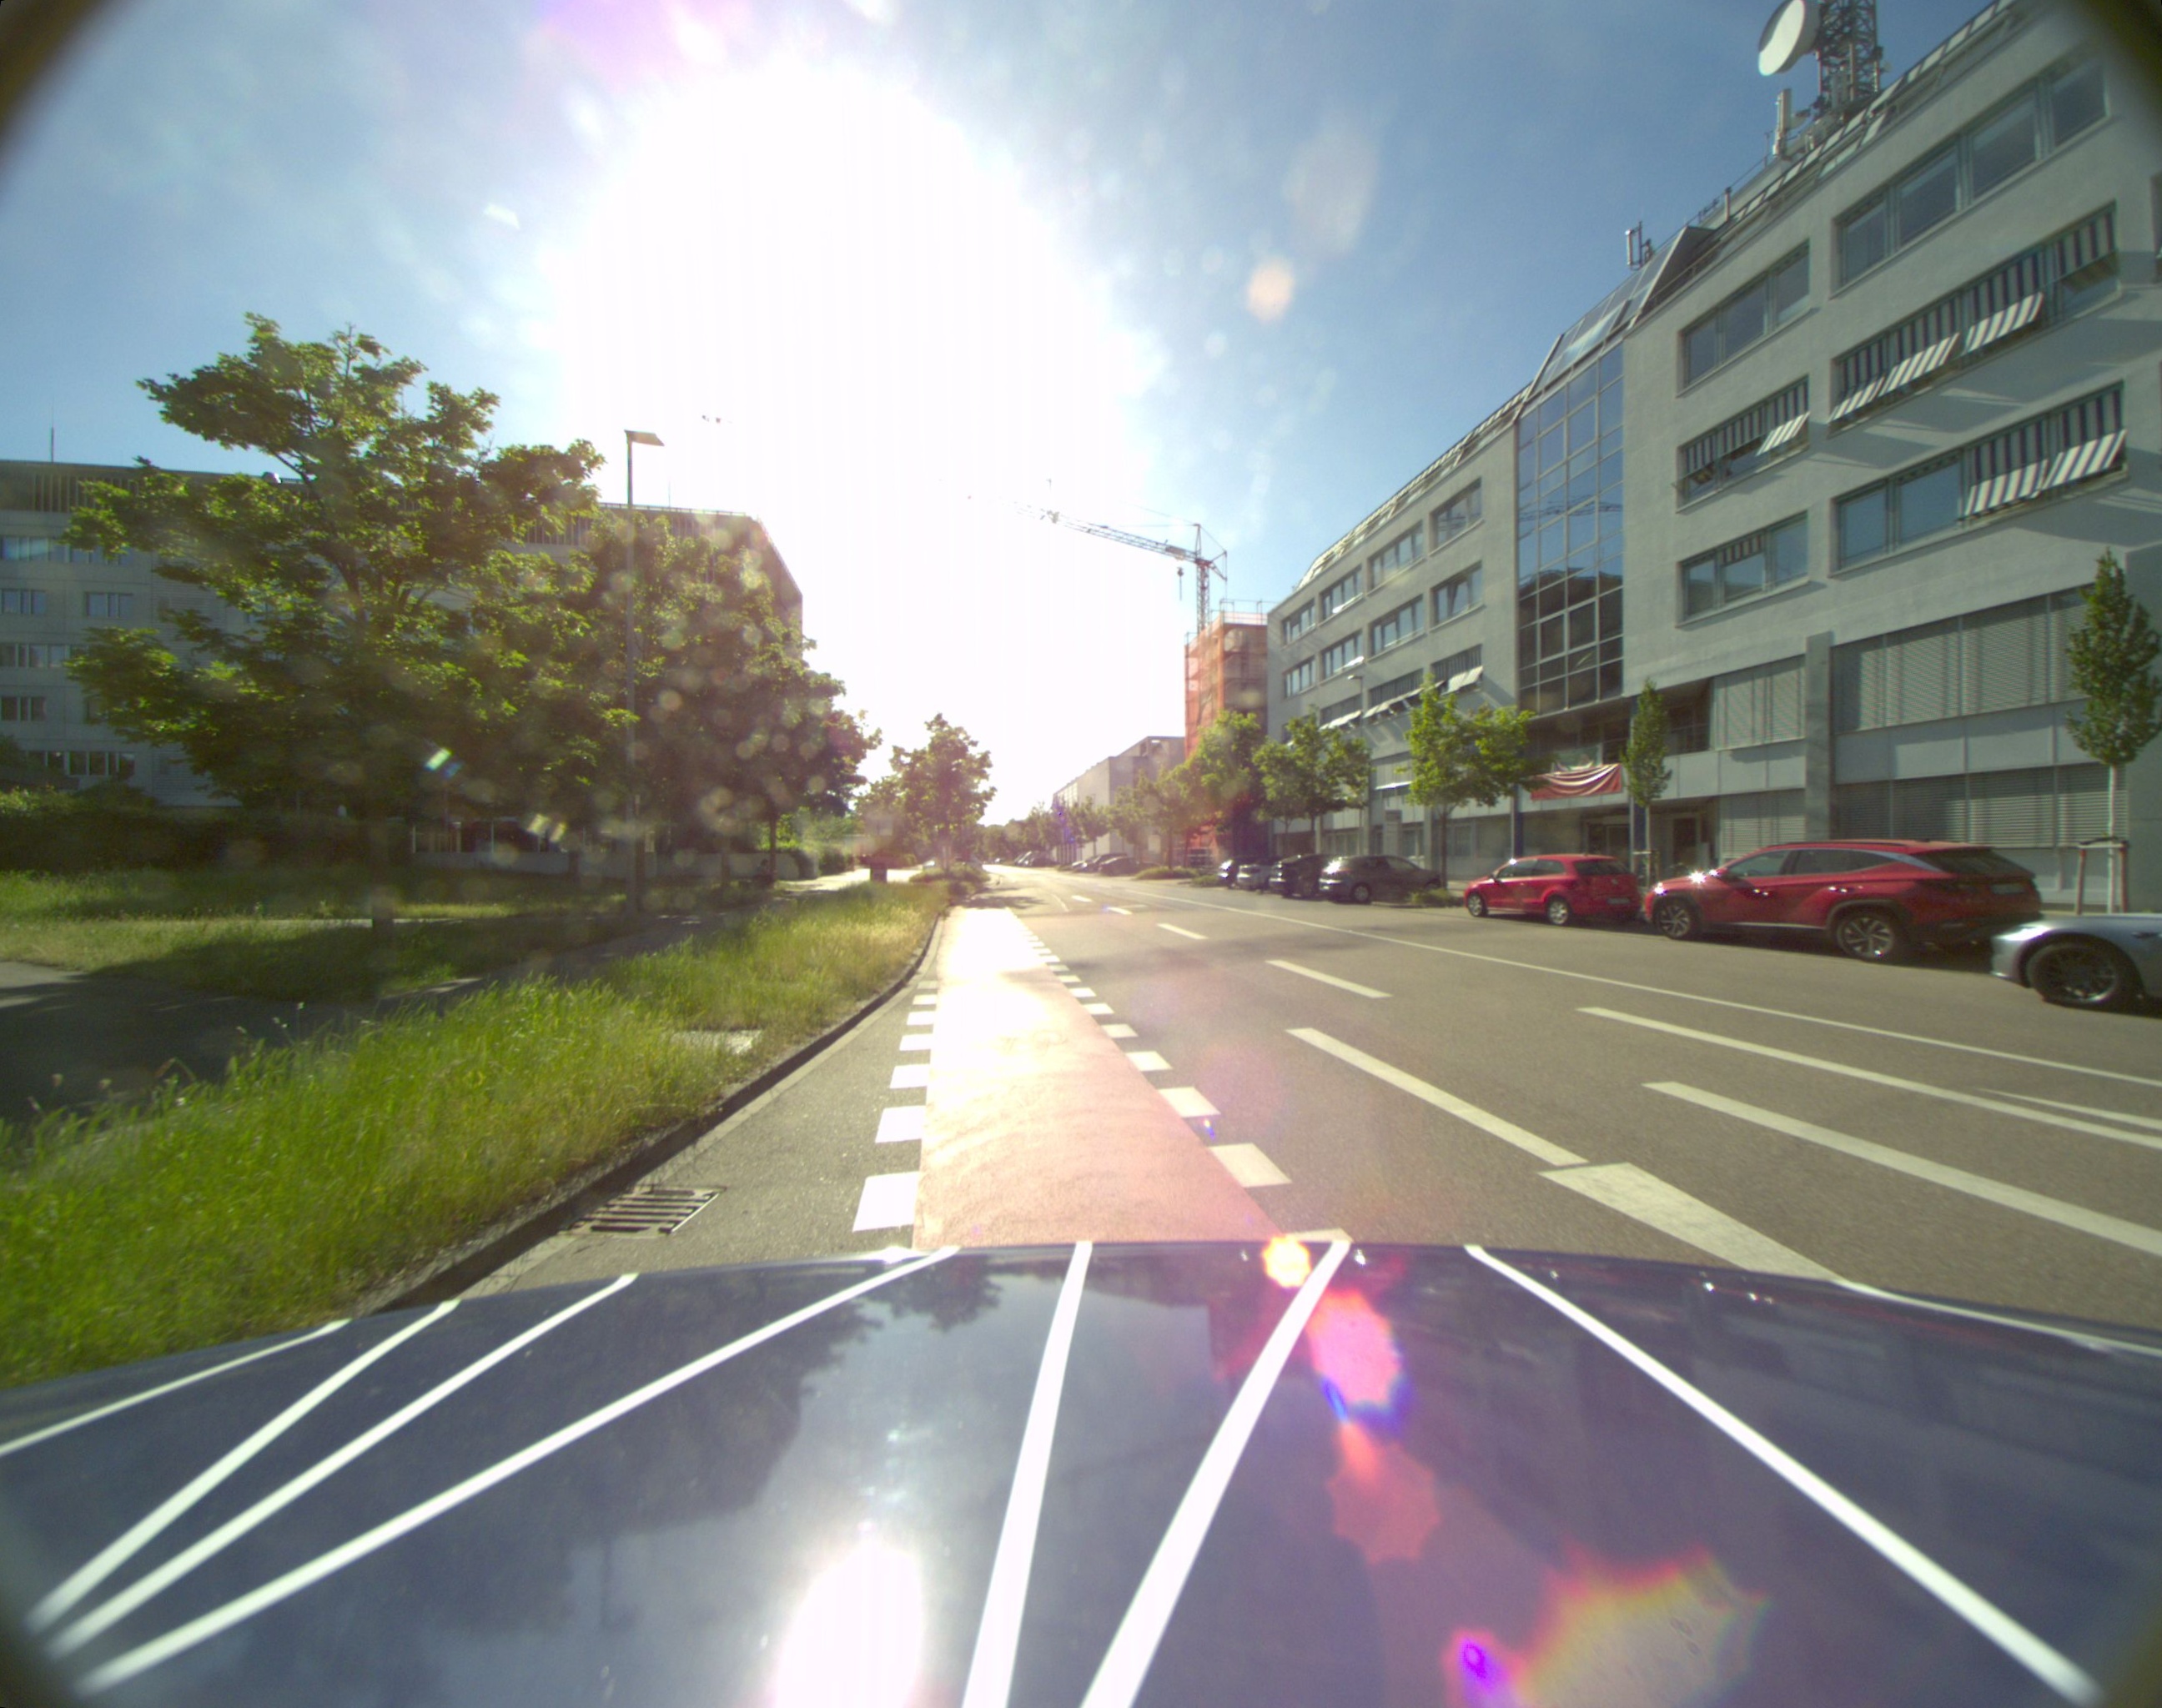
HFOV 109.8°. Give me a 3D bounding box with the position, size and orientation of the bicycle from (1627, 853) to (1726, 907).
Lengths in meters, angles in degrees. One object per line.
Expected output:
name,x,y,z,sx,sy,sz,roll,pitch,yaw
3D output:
bicycle,15.665,0.658,20.080,0.711,1.339,2.231,1,0,-4

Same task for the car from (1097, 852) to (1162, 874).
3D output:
car,3.643,0.688,57.240,4.401,1.424,1.975,-3,1,-13

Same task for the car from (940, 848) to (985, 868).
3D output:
car,-12.033,0.408,77.226,4.417,1.881,2.072,1,0,-9

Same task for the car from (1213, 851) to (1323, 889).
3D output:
car,8.288,0.691,33.824,4.400,1.424,1.692,-3,1,-11

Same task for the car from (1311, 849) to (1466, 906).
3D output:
car,9.808,0.707,24.278,4.401,1.529,1.691,-3,1,-14

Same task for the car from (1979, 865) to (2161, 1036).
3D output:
car,10.444,0.850,5.682,1.694,1.460,4.542,0,0,-13

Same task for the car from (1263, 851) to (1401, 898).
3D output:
car,8.956,0.695,27.224,4.401,1.424,1.692,-3,1,-12

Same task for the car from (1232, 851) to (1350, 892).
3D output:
car,8.693,0.686,31.541,4.400,1.424,1.692,-3,1,-11

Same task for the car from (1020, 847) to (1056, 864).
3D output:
car,-6.916,0.190,121.538,5.587,2.468,2.009,-3,1,-7

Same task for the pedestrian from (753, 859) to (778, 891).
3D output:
pedestrian,-12.109,0.811,29.185,0.848,1.210,0.727,1,0,-22

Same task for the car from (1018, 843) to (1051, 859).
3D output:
car,-8.235,-0.524,133.340,5.587,2.622,2.009,-3,1,-7

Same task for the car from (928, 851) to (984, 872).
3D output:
car,-10.194,0.621,62.087,4.417,1.631,2.072,1,0,-9

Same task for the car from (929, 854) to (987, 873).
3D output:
car,-9.645,0.742,59.865,4.417,1.454,1.894,1,0,-9

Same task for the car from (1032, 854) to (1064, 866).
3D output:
car,-4.626,0.886,107.233,4.319,1.505,1.717,-3,1,-10

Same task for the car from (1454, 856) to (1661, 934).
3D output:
car,10.247,0.790,16.721,1.693,1.424,3.868,-3,1,-9

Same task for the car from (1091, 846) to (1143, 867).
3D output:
car,3.242,0.220,68.707,4.399,1.735,1.845,-3,1,-8

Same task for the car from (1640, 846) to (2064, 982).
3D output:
car,11.192,0.726,11.571,1.694,1.598,4.306,-3,1,-10

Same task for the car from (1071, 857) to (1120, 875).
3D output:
car,1.397,1.192,73.954,4.400,1.505,1.692,-3,1,-10
